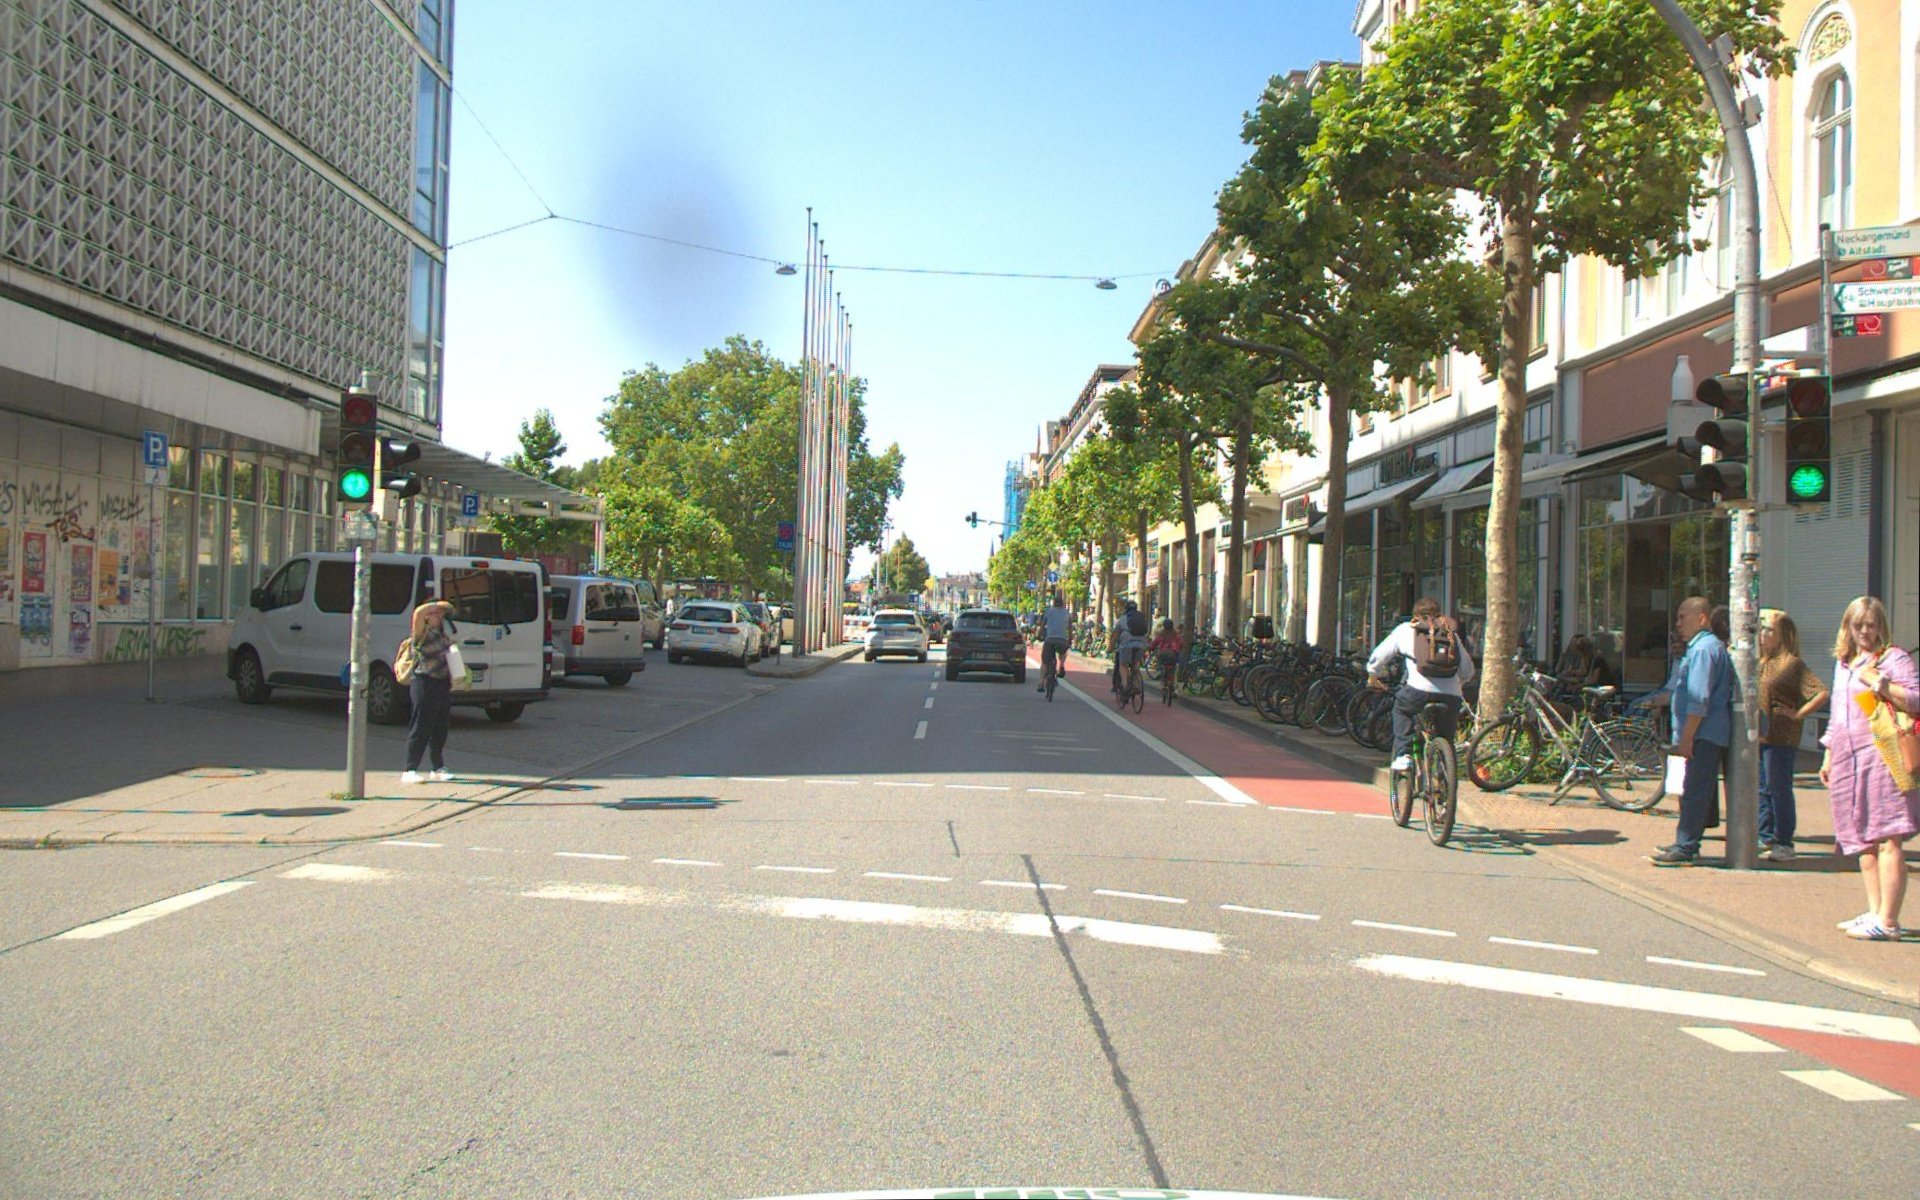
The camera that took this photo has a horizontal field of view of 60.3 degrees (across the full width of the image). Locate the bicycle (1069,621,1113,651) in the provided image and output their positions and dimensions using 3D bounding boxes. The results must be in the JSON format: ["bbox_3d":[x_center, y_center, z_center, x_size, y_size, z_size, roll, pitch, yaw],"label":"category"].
[{"bbox_3d":[5.167,1.431,65.314,1.692,1.128,0.477,2,-1,2],"label":"bicycle"}]

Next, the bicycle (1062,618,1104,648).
[{"bbox_3d":[5.352,1.440,72.036,1.805,1.222,0.474,2,-1,2],"label":"bicycle"}]

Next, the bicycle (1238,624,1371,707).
[{"bbox_3d":[5.082,0.954,24.458,1.802,1.146,0.680,2,-1,2],"label":"bicycle"}]

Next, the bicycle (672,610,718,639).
[{"bbox_3d":[-10.858,0.988,67.822,1.746,1.124,0.562,2,-1,-3],"label":"bicycle"}]

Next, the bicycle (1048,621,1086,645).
[{"bbox_3d":[5.082,1.569,78.638,1.746,1.142,0.562,1,-1,-3],"label":"bicycle"}]

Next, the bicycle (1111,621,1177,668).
[{"bbox_3d":[5.146,1.237,46.221,1.801,1.218,0.674,2,-1,7],"label":"bicycle"}]

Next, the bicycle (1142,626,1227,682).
[{"bbox_3d":[5.182,1.242,38.195,1.806,1.146,0.496,4,0,-9],"label":"bicycle"}]

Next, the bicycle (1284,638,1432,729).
[{"bbox_3d":[5.266,1.103,21.945,1.802,1.147,0.666,1,-1,1],"label":"bicycle"}]

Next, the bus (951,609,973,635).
[{"bbox_3d":[0.252,3.294,246.445,2.934,3.657,11.741,2,-1,-1],"label":"bus"}]

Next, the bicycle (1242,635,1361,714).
[{"bbox_3d":[5.478,1.183,26.586,1.801,1.146,0.530,3,-1,12],"label":"bicycle"}]

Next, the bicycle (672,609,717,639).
[{"bbox_3d":[-11.012,0.990,68.510,1.746,1.152,0.562,2,-1,-3],"label":"bicycle"}]

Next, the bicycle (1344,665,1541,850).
[{"bbox_3d":[3.482,1.097,12.134,0.684,1.146,2.080,3,-1,-4],"label":"bicycle"}]

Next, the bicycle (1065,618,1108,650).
[{"bbox_3d":[5.076,1.373,66.400,1.692,1.238,0.477,2,-1,2],"label":"bicycle"}]

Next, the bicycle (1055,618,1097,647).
[{"bbox_3d":[5.151,1.451,73.346,1.805,1.222,0.608,2,-1,2],"label":"bicycle"}]

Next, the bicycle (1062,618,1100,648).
[{"bbox_3d":[5.228,1.430,71.622,1.615,1.222,0.474,2,-1,2],"label":"bicycle"}]

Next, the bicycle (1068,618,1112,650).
[{"bbox_3d":[5.257,1.388,66.892,1.692,1.238,0.477,2,-1,2],"label":"bicycle"}]

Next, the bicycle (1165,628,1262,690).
[{"bbox_3d":[5.163,1.201,33.741,1.807,1.146,0.631,4,-1,-11],"label":"bicycle"}]

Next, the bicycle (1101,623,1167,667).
[{"bbox_3d":[4.979,1.285,47.285,1.801,1.146,0.498,3,-1,11],"label":"bicycle"}]

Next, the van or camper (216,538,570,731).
[{"bbox_3d":[-7.093,0.354,20.479,4.574,2.048,1.990,3,0,39],"label":"van or camper"}]

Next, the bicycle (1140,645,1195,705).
[{"bbox_3d":[3.679,1.318,29.436,0.588,0.942,2.086,1,0,-3],"label":"bicycle"}]

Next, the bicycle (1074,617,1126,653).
[{"bbox_3d":[5.252,1.320,62.149,1.891,1.270,0.736,2,-1,2],"label":"bicycle"}]

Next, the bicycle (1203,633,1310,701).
[{"bbox_3d":[5.217,1.172,29.145,1.804,1.147,0.447,0,-2,28],"label":"bicycle"}]

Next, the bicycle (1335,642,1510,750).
[{"bbox_3d":[5.167,1.061,18.549,1.801,1.147,0.667,1,-1,7],"label":"bicycle"}]

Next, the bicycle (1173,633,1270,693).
[{"bbox_3d":[5.261,1.262,33.242,1.807,1.112,0.563,3,-1,-11],"label":"bicycle"}]

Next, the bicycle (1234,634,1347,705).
[{"bbox_3d":[5.553,1.160,27.847,1.801,1.147,0.448,1,-2,2],"label":"bicycle"}]

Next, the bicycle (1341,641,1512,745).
[{"bbox_3d":[5.431,1.077,19.324,1.802,1.147,0.666,1,-1,1],"label":"bicycle"}]

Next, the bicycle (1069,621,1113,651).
[{"bbox_3d":[5.135,1.409,64.895,1.692,1.128,0.402,2,-1,2],"label":"bicycle"}]

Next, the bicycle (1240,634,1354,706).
[{"bbox_3d":[5.573,1.155,27.388,1.801,1.147,0.448,1,-2,2],"label":"bicycle"}]

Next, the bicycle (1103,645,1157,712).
[{"bbox_3d":[2.719,1.241,26.624,0.617,0.997,2.088,1,-1,-1],"label":"bicycle"}]

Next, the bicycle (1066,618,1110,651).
[{"bbox_3d":[5.087,1.355,65.675,1.692,1.238,0.477,2,-1,2],"label":"bicycle"}]

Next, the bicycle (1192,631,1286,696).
[{"bbox_3d":[5.097,1.168,30.173,1.825,1.147,0.586,2,-2,-37],"label":"bicycle"}]

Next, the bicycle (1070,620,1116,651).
[{"bbox_3d":[5.114,1.376,63.628,1.692,1.128,0.736,2,-1,2],"label":"bicycle"}]

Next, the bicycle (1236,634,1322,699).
[{"bbox_3d":[5.829,1.211,30.127,1.826,1.147,0.442,2,-2,-38],"label":"bicycle"}]

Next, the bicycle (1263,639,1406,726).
[{"bbox_3d":[5.138,1.128,22.755,1.802,1.147,0.666,1,-1,1],"label":"bicycle"}]

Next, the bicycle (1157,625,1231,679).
[{"bbox_3d":[5.645,1.255,39.864,1.754,1.218,0.572,3,-1,-28],"label":"bicycle"}]

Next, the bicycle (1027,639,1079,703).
[{"bbox_3d":[1.623,1.233,29.128,0.758,1.023,2.329,1,0,0],"label":"bicycle"}]

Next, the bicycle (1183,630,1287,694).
[{"bbox_3d":[5.402,1.215,32.502,1.808,1.146,0.763,4,-2,-13],"label":"bicycle"}]

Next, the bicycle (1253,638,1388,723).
[{"bbox_3d":[5.102,1.137,23.450,1.802,1.147,0.530,1,-2,1],"label":"bicycle"}]

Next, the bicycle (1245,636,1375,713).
[{"bbox_3d":[5.468,1.151,25.873,1.943,1.147,0.762,1,-2,12],"label":"bicycle"}]

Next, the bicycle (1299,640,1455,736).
[{"bbox_3d":[5.251,1.101,20.898,1.802,1.147,0.643,1,-1,1],"label":"bicycle"}]

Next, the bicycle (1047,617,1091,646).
[{"bbox_3d":[5.110,1.468,77.759,1.904,1.279,0.701,2,-1,-20],"label":"bicycle"}]

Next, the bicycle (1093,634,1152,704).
[{"bbox_3d":[2.906,1.215,29.705,0.684,1.146,2.080,3,-1,-4],"label":"bicycle"}]

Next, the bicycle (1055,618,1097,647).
[{"bbox_3d":[5.117,1.438,72.840,1.805,1.222,0.545,2,-1,2],"label":"bicycle"}]

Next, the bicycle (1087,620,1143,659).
[{"bbox_3d":[5.152,1.316,55.049,1.801,1.206,0.670,3,-1,5],"label":"bicycle"}]

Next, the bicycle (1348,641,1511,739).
[{"bbox_3d":[5.745,1.097,20.296,1.802,1.147,0.666,1,-1,1],"label":"bicycle"}]
